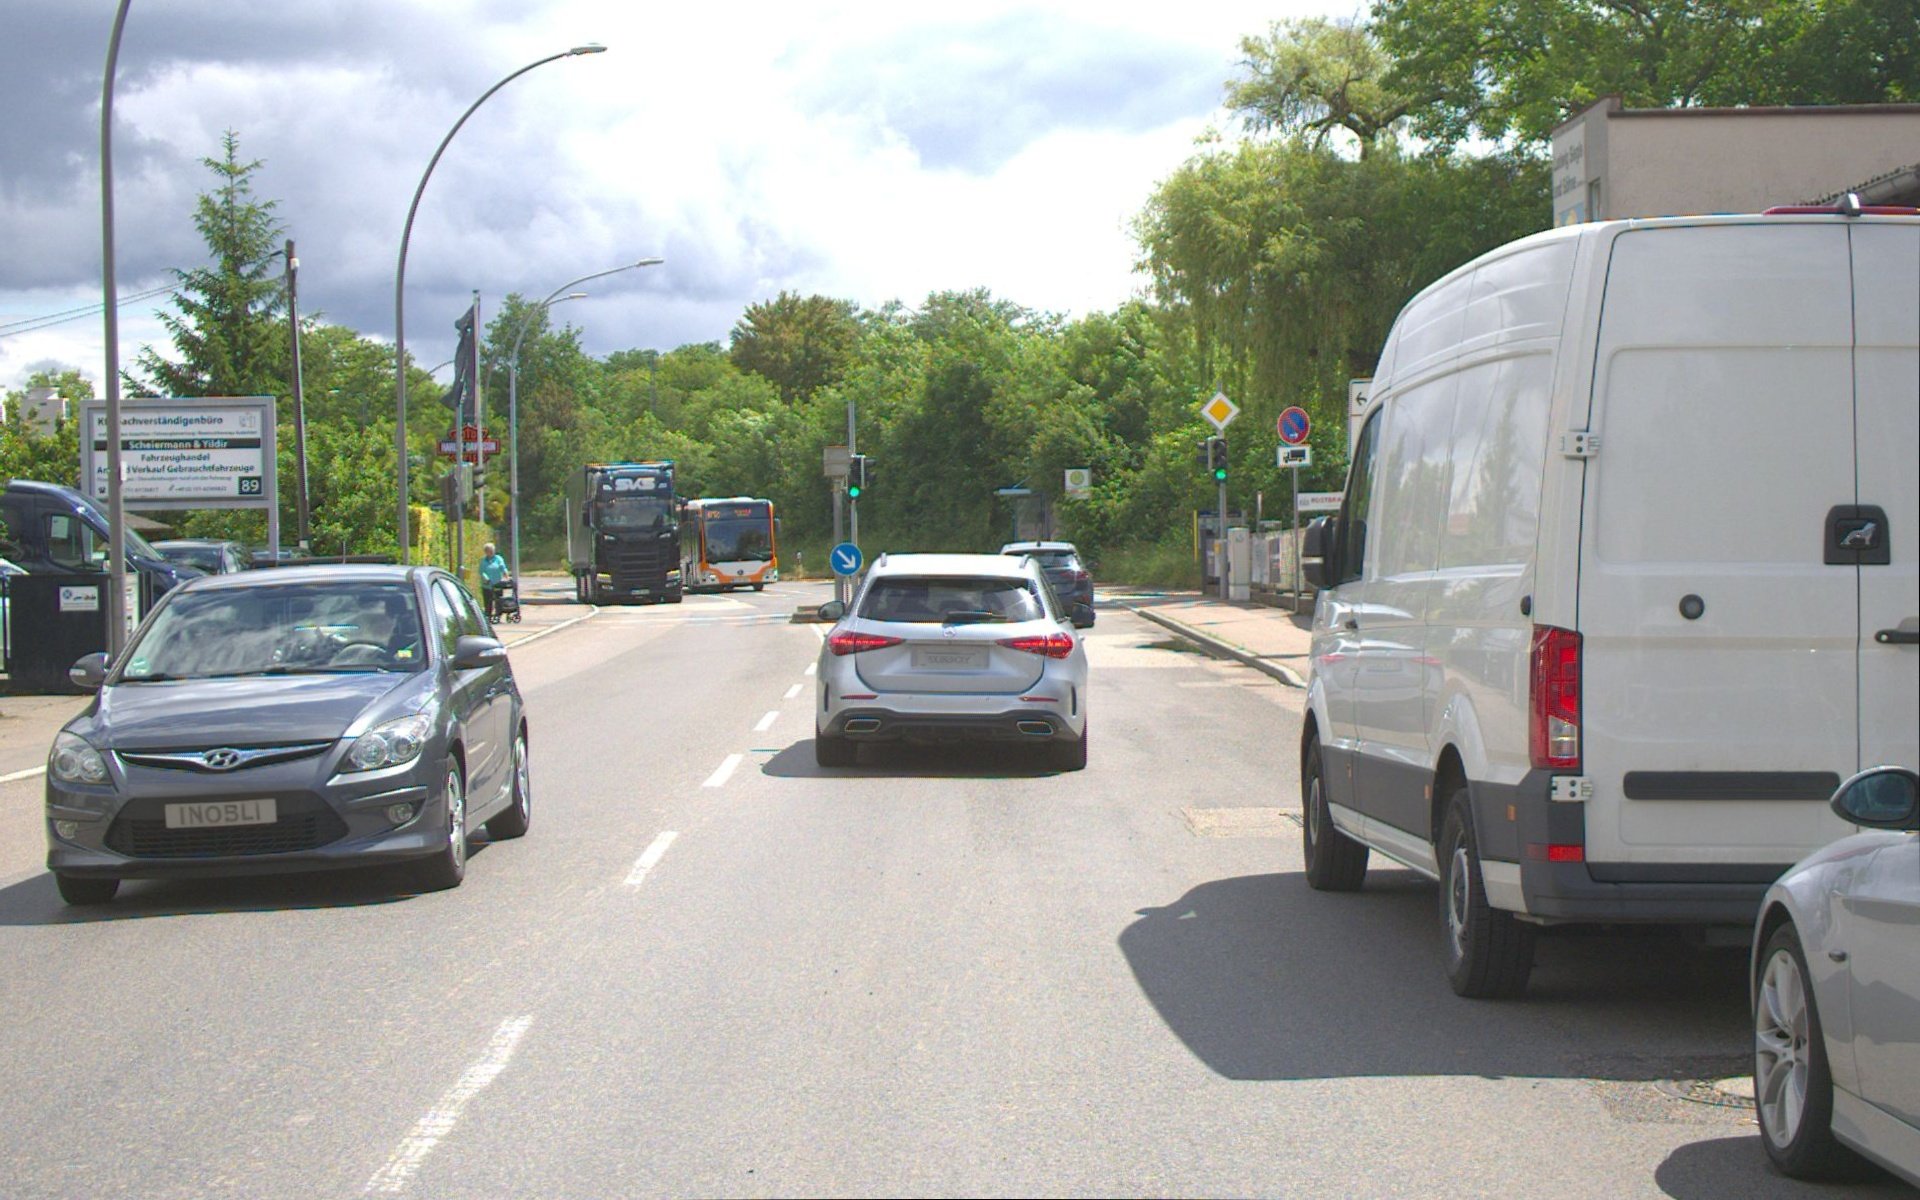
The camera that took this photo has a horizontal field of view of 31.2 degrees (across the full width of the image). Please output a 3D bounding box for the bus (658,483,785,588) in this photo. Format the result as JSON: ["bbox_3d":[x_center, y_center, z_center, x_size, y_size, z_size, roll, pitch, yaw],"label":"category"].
[{"bbox_3d":[-8.174,-2.154,116.304,2.777,3.255,12.127,-2,1,-11],"label":"bus"}]

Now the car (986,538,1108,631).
[{"bbox_3d":[1.434,-0.287,58.225,1.884,1.503,4.000,-1,1,-1],"label":"car"}]

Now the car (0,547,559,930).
[{"bbox_3d":[-3.086,0.541,16.387,1.900,1.512,4.319,-2,1,-1],"label":"car"}]

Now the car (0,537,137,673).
[{"bbox_3d":[-11.421,0.059,39.070,1.994,1.481,5.338,-1,1,10],"label":"car"}]

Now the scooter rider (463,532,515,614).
[{"bbox_3d":[-9.255,-0.528,67.623,0.878,1.584,0.796,-1,1,0],"label":"scooter rider"}]

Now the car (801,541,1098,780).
[{"bbox_3d":[-0.067,0.354,24.013,1.885,1.503,4.000,-1,1,0],"label":"car"}]

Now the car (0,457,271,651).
[{"bbox_3d":[-12.616,-0.592,46.494,6.037,2.488,2.477,-1,1,0],"label":"car"}]

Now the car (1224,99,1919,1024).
[{"bbox_3d":[2.527,-0.190,13.445,2.215,2.680,6.658,-2,1,-2],"label":"car"}]

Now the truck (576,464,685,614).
[{"bbox_3d":[-9.688,-1.747,100.274,2.428,4.117,9.153,1,1,-10],"label":"truck"}]

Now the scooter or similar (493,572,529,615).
[{"bbox_3d":[-8.753,-0.128,67.038,0.611,0.829,0.659,1,1,0],"label":"scooter or similar"}]

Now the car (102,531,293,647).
[{"bbox_3d":[-11.135,-0.200,50.466,2.031,1.589,4.285,-1,1,-3],"label":"car"}]
